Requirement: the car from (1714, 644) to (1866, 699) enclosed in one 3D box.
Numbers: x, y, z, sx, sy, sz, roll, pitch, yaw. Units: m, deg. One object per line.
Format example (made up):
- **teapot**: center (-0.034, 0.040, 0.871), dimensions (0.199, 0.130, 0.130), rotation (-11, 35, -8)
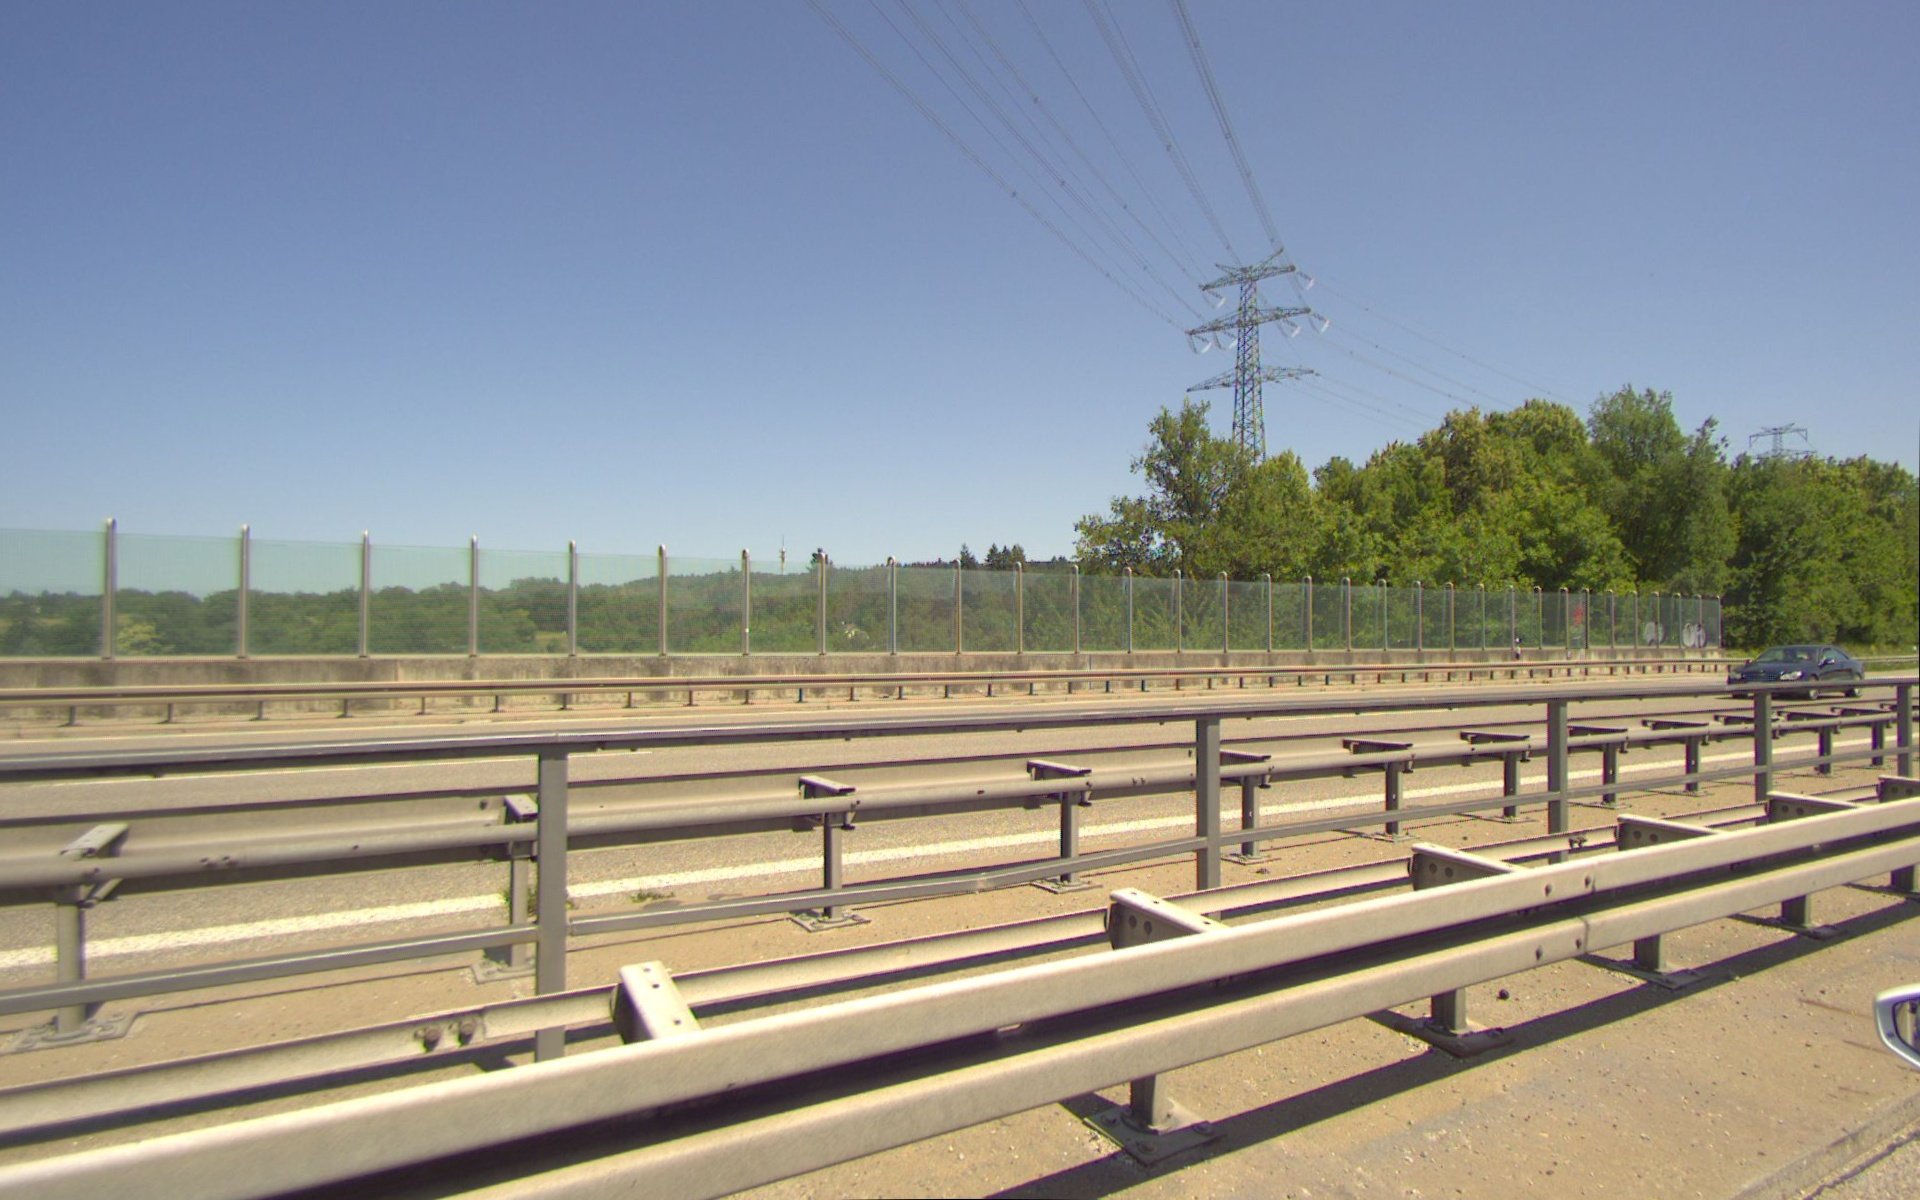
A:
- **car**: center (21.967, 1.852, 26.567), dimensions (4.221, 1.337, 1.752), rotation (2, -3, -30)
